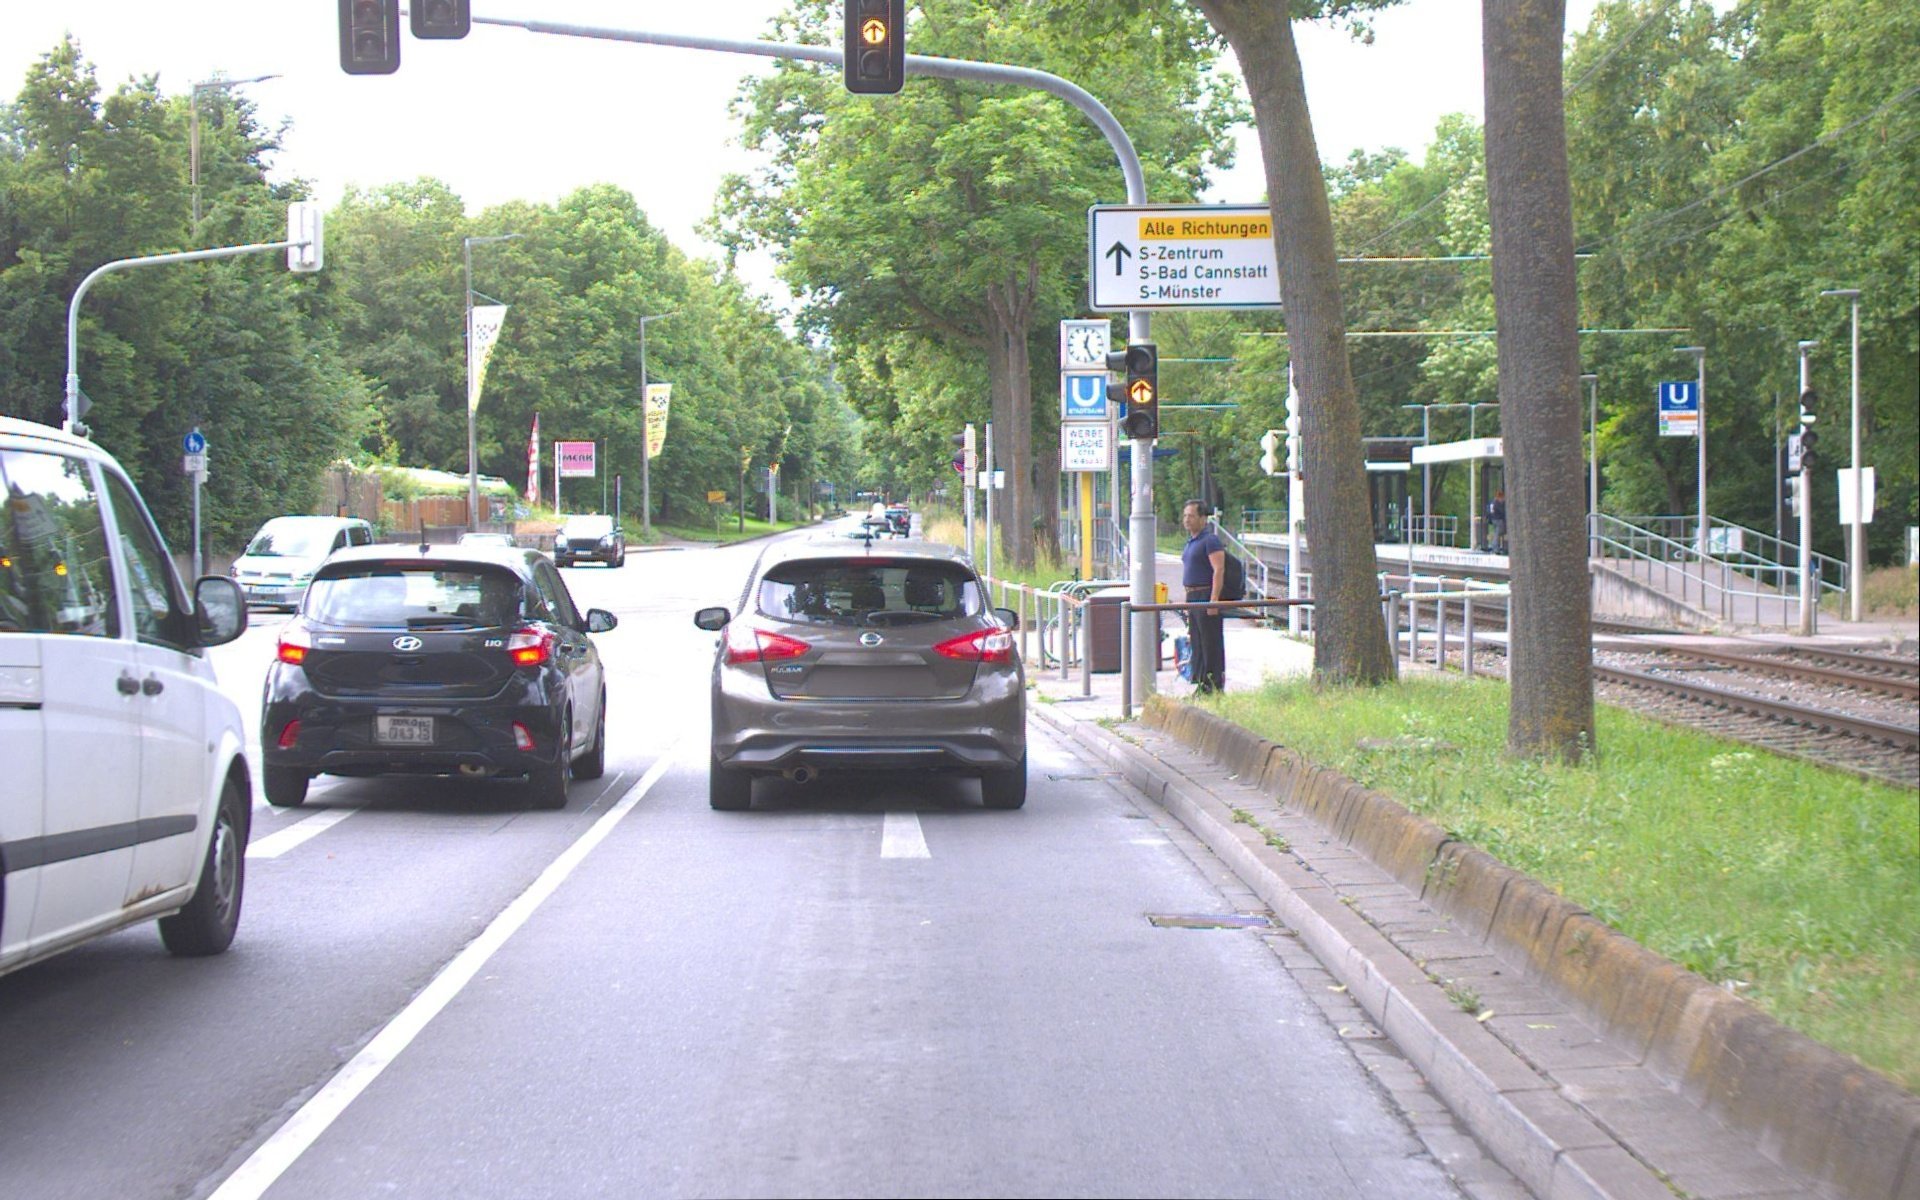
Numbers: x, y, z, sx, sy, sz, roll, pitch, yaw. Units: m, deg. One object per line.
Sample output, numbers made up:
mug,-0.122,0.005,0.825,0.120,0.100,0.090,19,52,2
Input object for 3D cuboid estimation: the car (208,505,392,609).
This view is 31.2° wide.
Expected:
car,-12.418,-0.826,64.994,1.943,1.867,4.540,1,1,9

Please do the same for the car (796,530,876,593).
car,-2.989,-0.952,83.626,1.710,1.470,3.671,1,1,1

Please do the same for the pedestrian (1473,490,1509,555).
pedestrian,12.620,-1.837,81.656,0.718,1.506,0.724,2,0,2

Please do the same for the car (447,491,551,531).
car,-19.275,-3.725,143.864,3.987,1.492,1.859,2,1,4

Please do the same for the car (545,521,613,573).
car,-12.580,-1.769,113.630,1.901,1.673,5.081,0,1,-3

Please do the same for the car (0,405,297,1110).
car,-3.463,0.379,10.450,1.907,1.837,5.282,0,1,0

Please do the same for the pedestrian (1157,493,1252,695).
pedestrian,2.165,-0.059,30.430,0.752,1.731,0.839,-2,1,4

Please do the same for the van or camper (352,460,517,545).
van or camper,-25.005,-4.641,163.835,7.141,3.359,2.797,5,1,0

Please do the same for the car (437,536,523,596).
car,-12.311,-0.885,88.365,1.741,1.459,4.343,2,1,-2

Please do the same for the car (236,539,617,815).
car,-3.055,0.382,20.322,1.703,1.475,3.667,0,1,0

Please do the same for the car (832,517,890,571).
car,-2.896,-1.658,101.333,1.503,1.523,3.671,1,1,1

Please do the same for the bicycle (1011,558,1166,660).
bicycle,1.460,0.097,39.224,1.674,1.086,0.602,-3,1,-4

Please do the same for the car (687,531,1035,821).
car,-0.492,0.369,20.414,1.837,1.523,3.929,1,1,1
